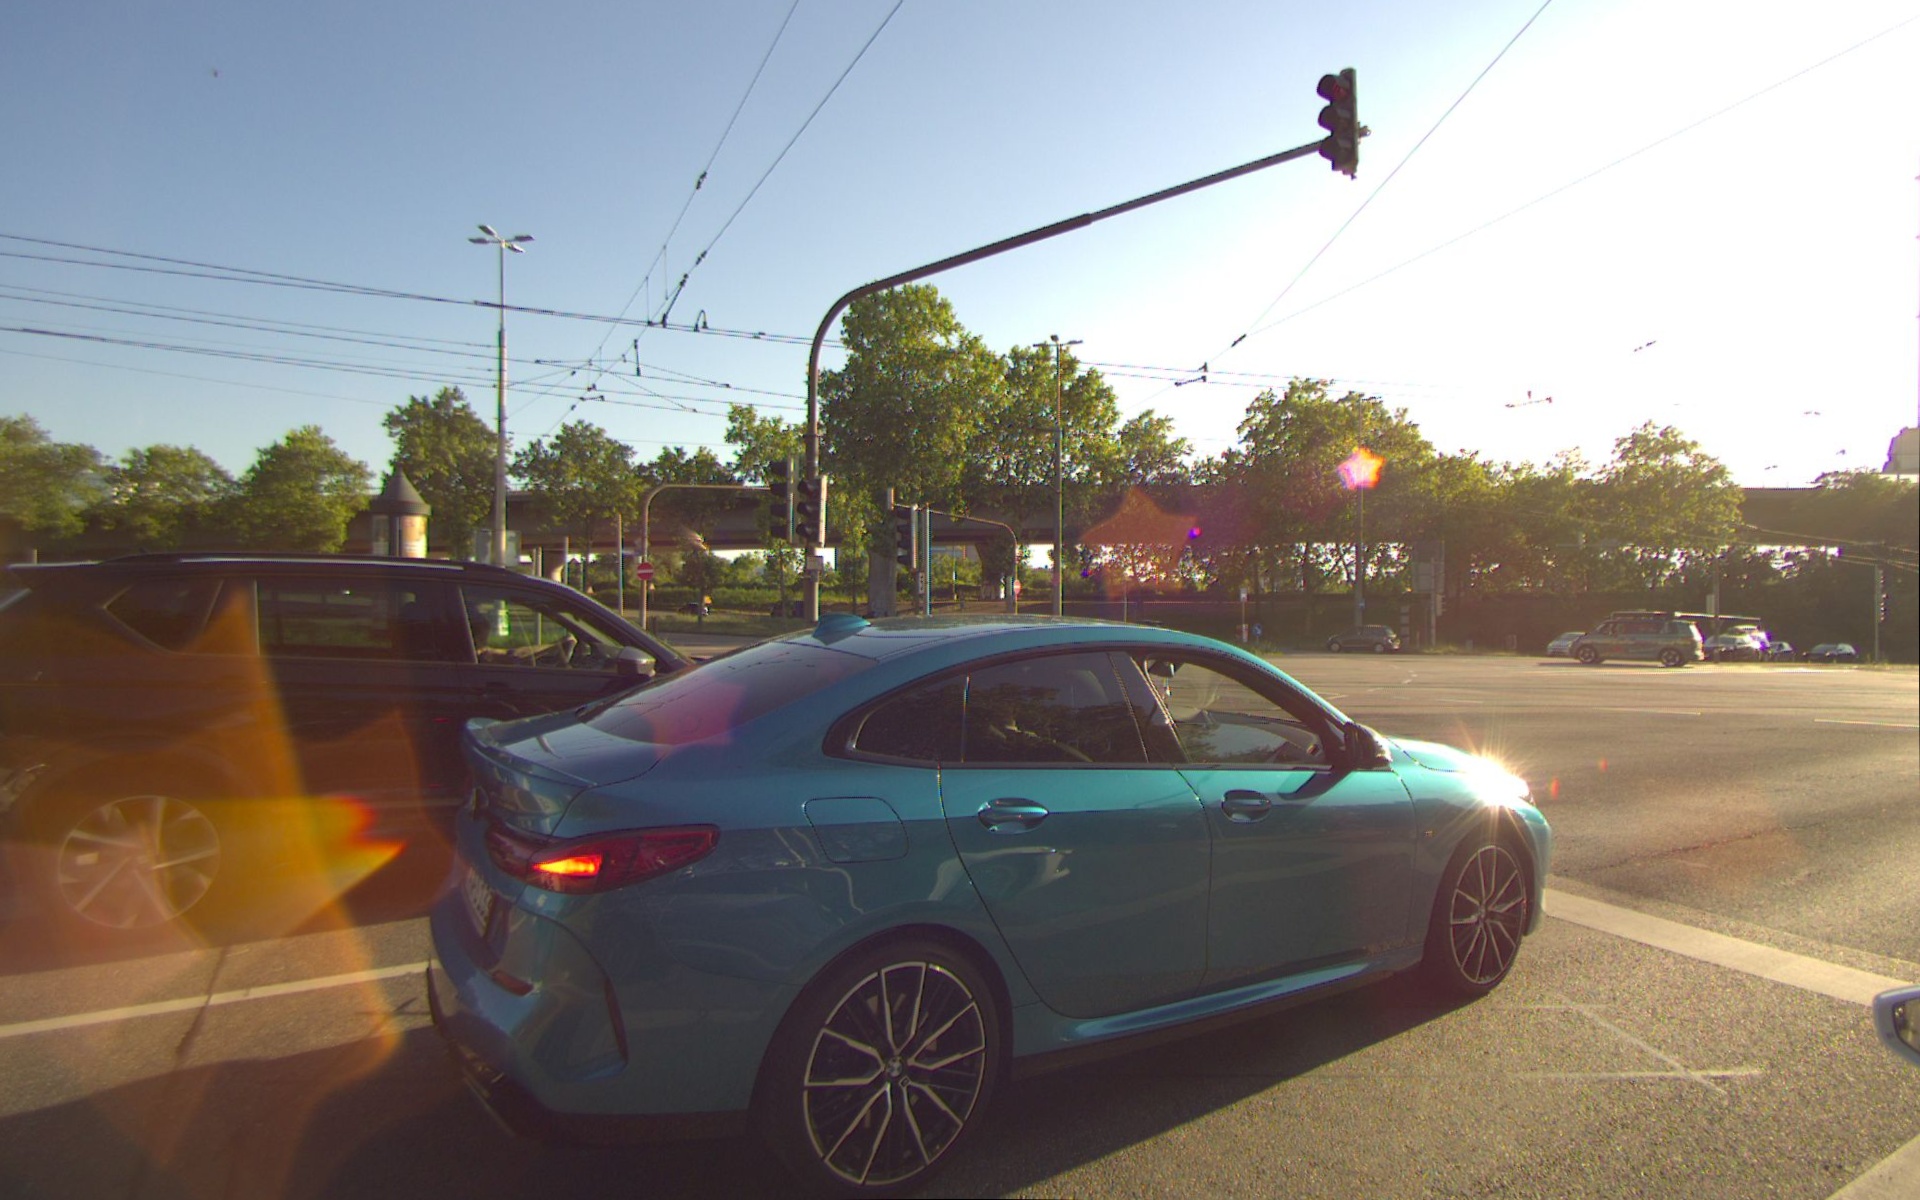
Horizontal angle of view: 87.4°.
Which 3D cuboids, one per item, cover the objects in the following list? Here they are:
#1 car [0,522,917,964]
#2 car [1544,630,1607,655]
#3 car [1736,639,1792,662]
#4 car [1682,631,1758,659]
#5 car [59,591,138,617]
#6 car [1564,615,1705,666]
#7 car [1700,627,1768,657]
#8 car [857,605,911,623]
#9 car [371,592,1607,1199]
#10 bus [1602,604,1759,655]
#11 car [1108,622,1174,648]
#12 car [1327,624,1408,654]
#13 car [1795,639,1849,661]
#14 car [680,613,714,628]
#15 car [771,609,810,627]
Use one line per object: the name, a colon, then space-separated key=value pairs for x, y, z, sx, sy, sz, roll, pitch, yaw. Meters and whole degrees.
car: x=-2.691 y=0.596 z=5.618 sx=4.550 sy=1.704 sz=1.905 roll=2 pitch=-1 yaw=-32
car: x=35.104 y=2.433 z=57.289 sx=3.693 sy=1.372 sz=1.595 roll=2 pitch=-1 yaw=-32
car: x=54.684 y=3.400 z=68.310 sx=3.952 sy=1.461 sz=1.692 roll=2 pitch=-1 yaw=-30
car: x=39.652 y=2.342 z=52.380 sx=4.046 sy=1.372 sz=1.703 roll=2 pitch=-1 yaw=-30
car: x=-51.844 y=0.285 z=60.474 sx=3.922 sy=1.506 sz=2.000 roll=0 pitch=-1 yaw=21
car: x=28.387 y=1.663 z=42.371 sx=4.641 sy=1.930 sz=1.988 roll=0 pitch=-1 yaw=45
car: x=44.934 y=2.427 z=58.330 sx=4.046 sy=1.674 sz=1.703 roll=2 pitch=-1 yaw=-30
car: x=-6.236 y=1.136 z=82.040 sx=1.986 sy=1.473 sz=4.476 roll=2 pitch=-1 yaw=-43
car: x=0.406 y=0.759 z=3.793 sx=4.465 sy=1.436 sz=1.774 roll=2 pitch=-1 yaw=-33
bus: x=45.454 y=1.895 z=63.170 sx=12.693 sy=2.993 sz=2.811 roll=2 pitch=-1 yaw=-28
car: x=10.888 y=2.066 z=60.639 sx=1.684 sy=1.441 sz=3.688 roll=2 pitch=-1 yaw=-41
car: x=21.841 y=2.081 z=53.947 sx=1.685 sy=1.441 sz=3.685 roll=2 pitch=-1 yaw=-44
car: x=60.880 y=3.500 z=70.930 sx=3.952 sy=1.461 sz=1.692 roll=2 pitch=-1 yaw=-30
car: x=-27.998 y=2.180 z=106.851 sx=1.982 sy=1.473 sz=4.485 roll=2 pitch=-1 yaw=-38
car: x=-16.969 y=1.786 z=100.494 sx=1.981 sy=1.644 sz=4.488 roll=2 pitch=-1 yaw=-36
